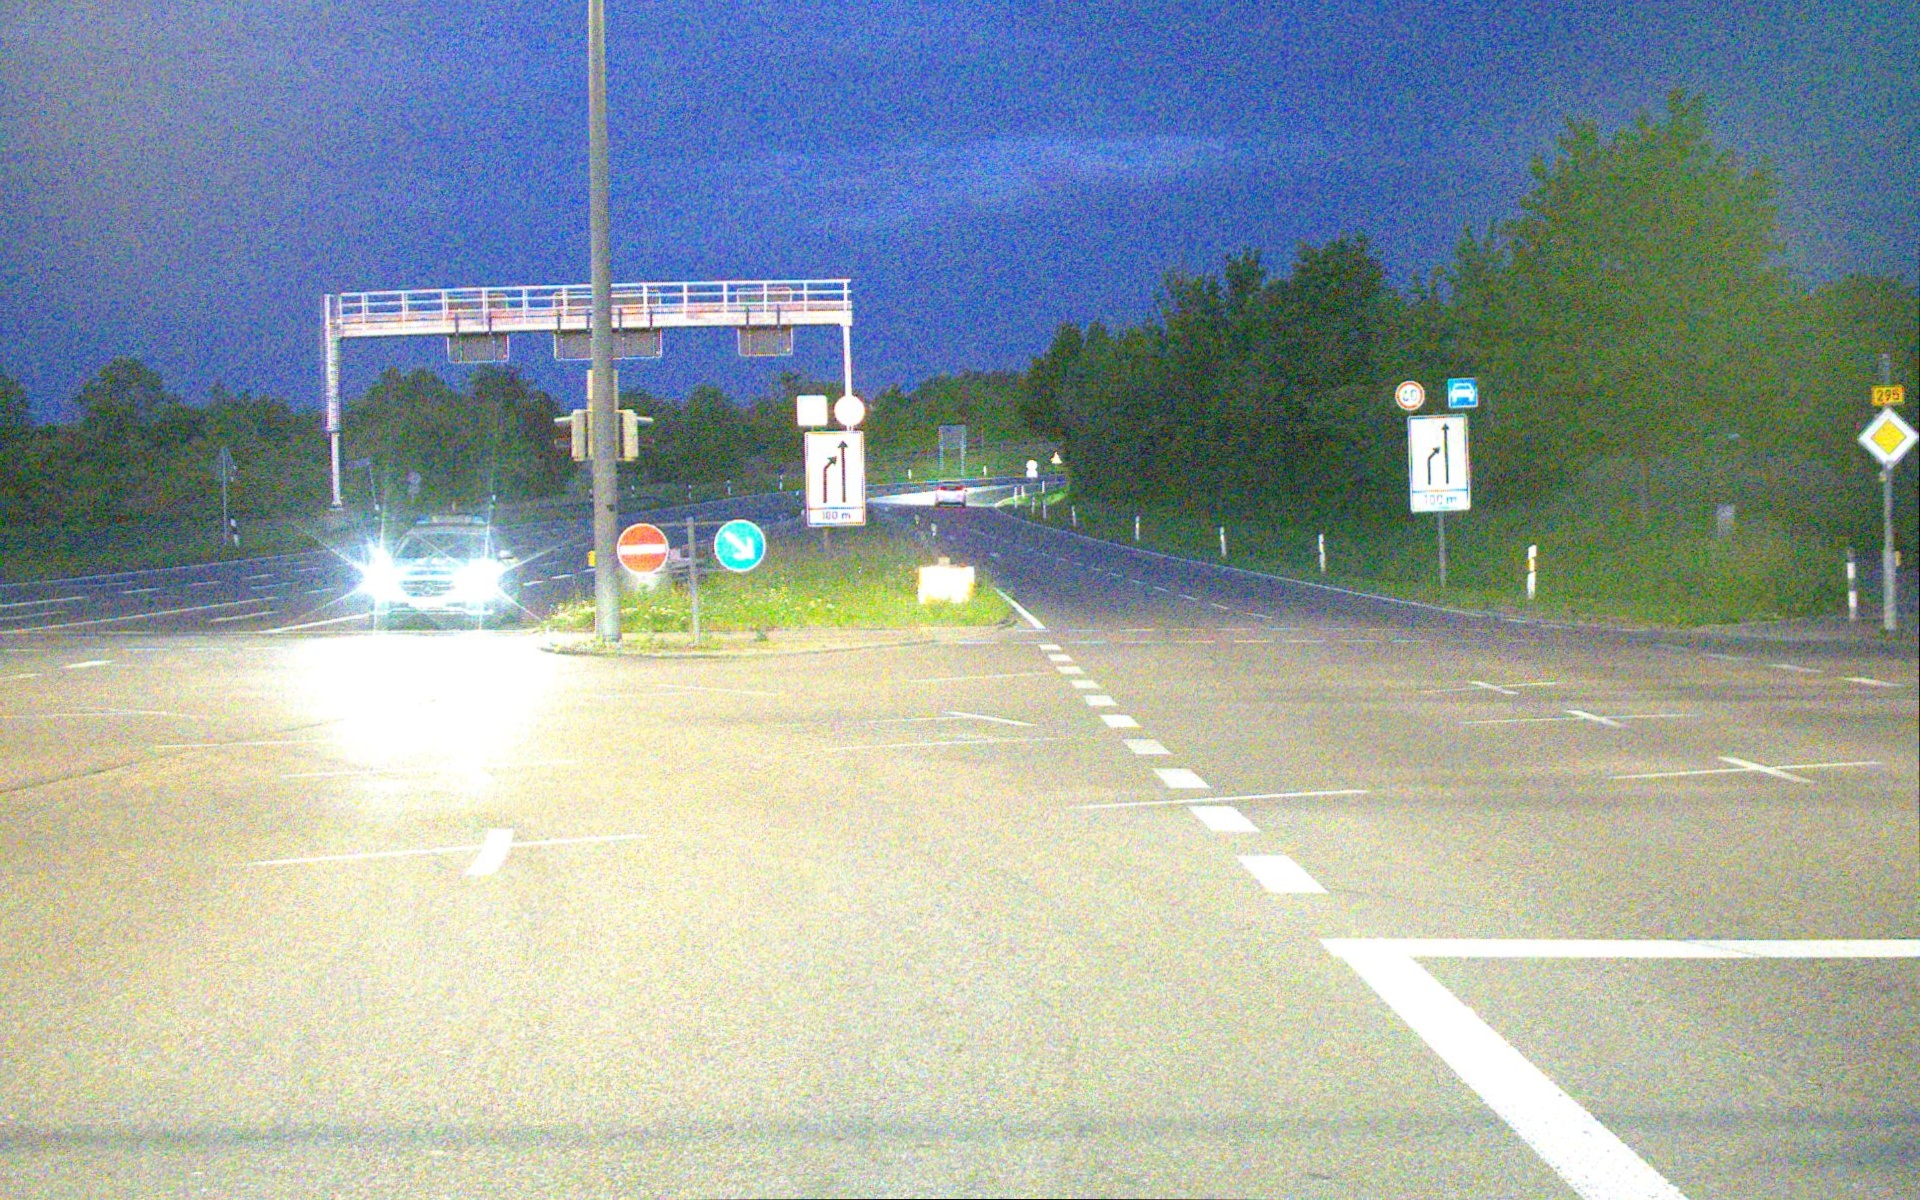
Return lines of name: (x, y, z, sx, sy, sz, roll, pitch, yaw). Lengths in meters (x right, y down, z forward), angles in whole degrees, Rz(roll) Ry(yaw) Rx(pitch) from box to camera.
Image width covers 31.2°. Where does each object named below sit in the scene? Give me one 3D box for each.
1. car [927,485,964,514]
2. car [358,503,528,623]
car: (-0.845, -5.837, 199.652, 2.008, 1.605, 3.845, 0, 0, 2)
car: (-7.563, -0.578, 50.630, 1.993, 1.692, 4.001, 0, 1, -2)
